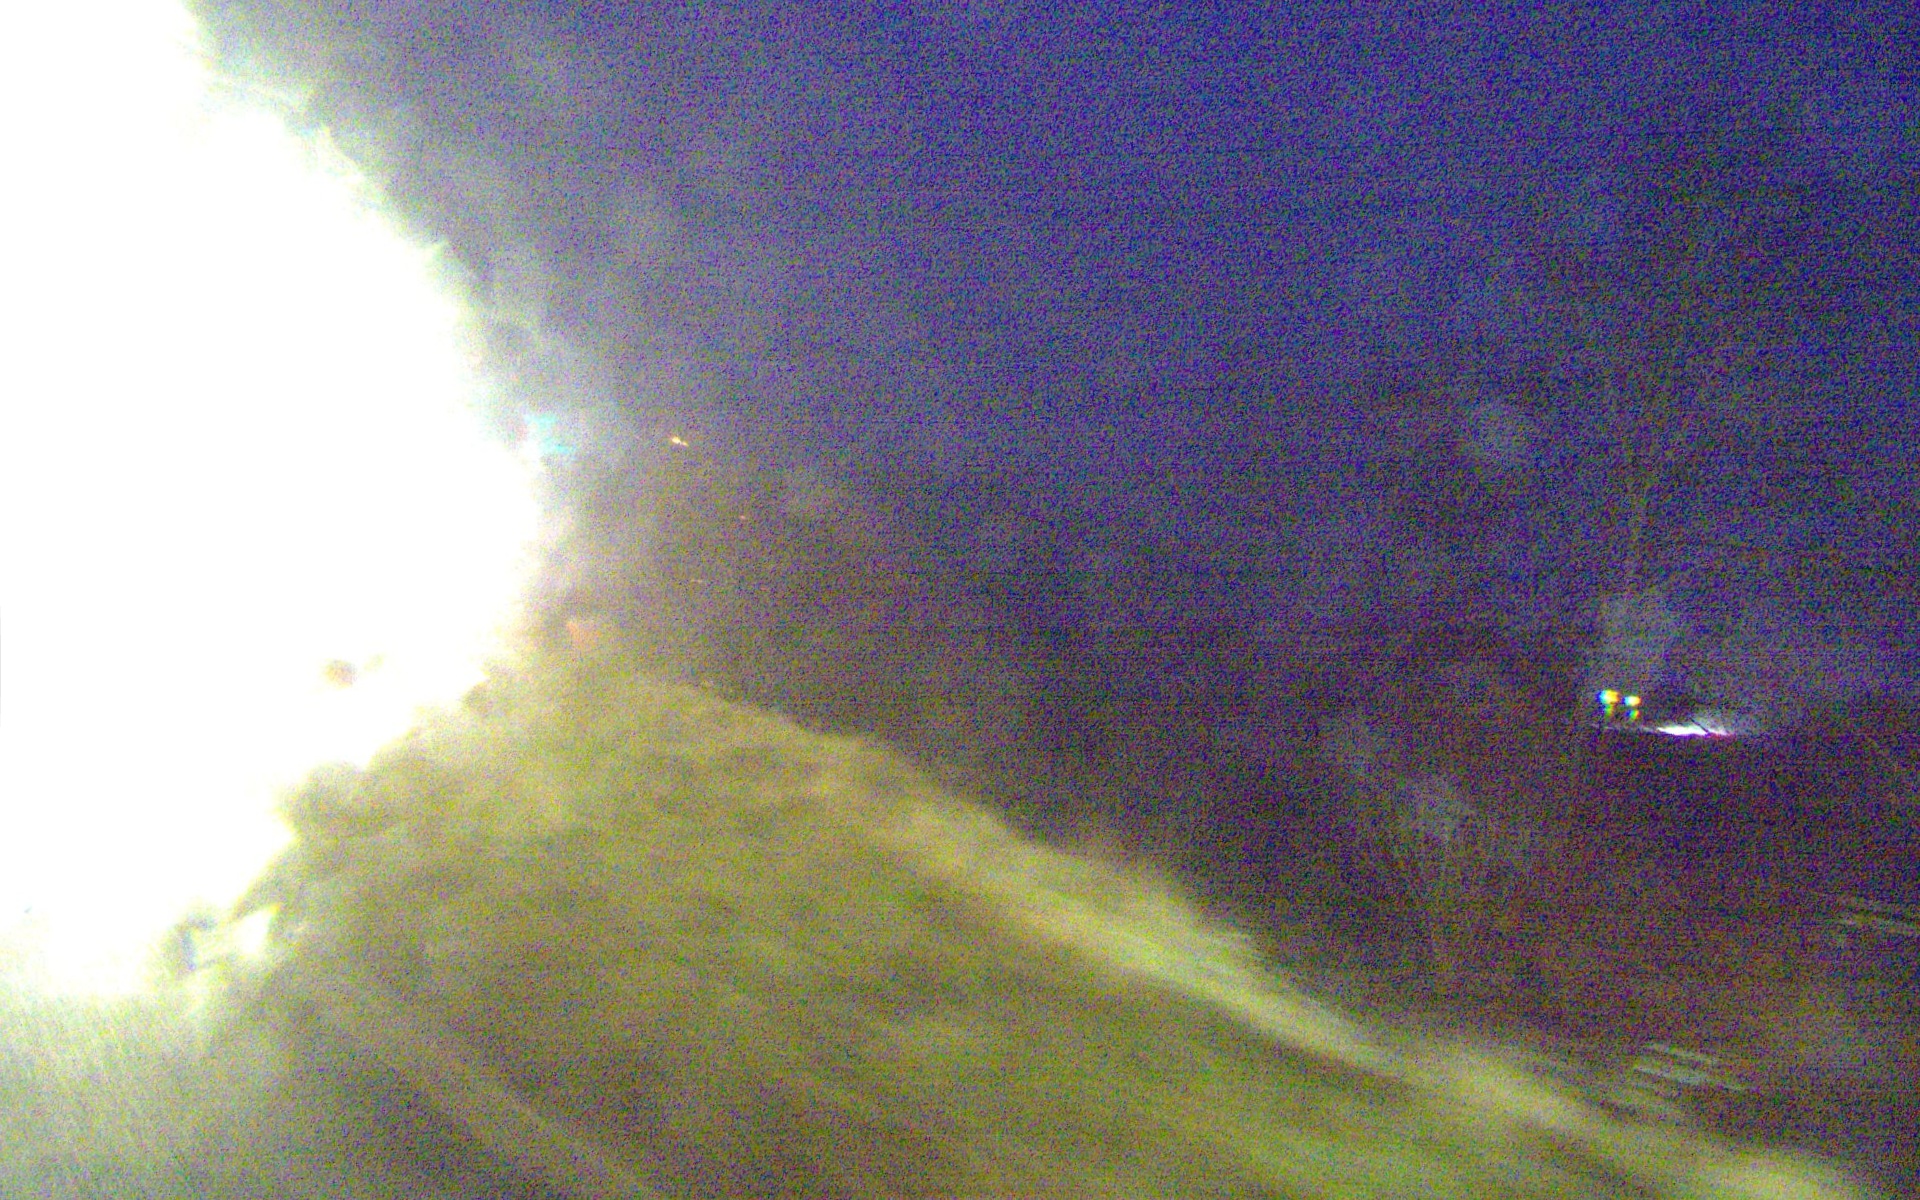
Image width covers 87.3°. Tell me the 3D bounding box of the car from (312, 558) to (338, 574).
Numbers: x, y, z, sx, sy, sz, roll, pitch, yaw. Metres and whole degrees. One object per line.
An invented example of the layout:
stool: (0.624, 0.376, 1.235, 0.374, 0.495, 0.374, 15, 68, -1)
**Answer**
car: (-65.591, -3.506, 103.951, 1.574, 1.443, 3.333, 8, -2, -23)

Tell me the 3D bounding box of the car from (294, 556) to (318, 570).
car: (-70.873, -3.992, 109.024, 1.629, 1.217, 3.593, 8, -2, -25)

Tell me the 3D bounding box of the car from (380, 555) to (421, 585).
car: (-43.585, -2.309, 78.470, 2.161, 1.616, 3.983, 13, -7, -23)

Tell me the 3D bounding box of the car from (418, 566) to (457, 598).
car: (-34.578, -1.169, 66.657, 1.897, 1.616, 3.980, 13, -7, -25)

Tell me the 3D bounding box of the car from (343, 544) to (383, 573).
car: (-47.440, -3.241, 79.991, 2.163, 1.616, 3.979, 13, -7, -26)

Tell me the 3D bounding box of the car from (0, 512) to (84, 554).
car: (-47.113, -3.388, 51.670, 1.868, 1.546, 4.408, 10, -4, -25)
